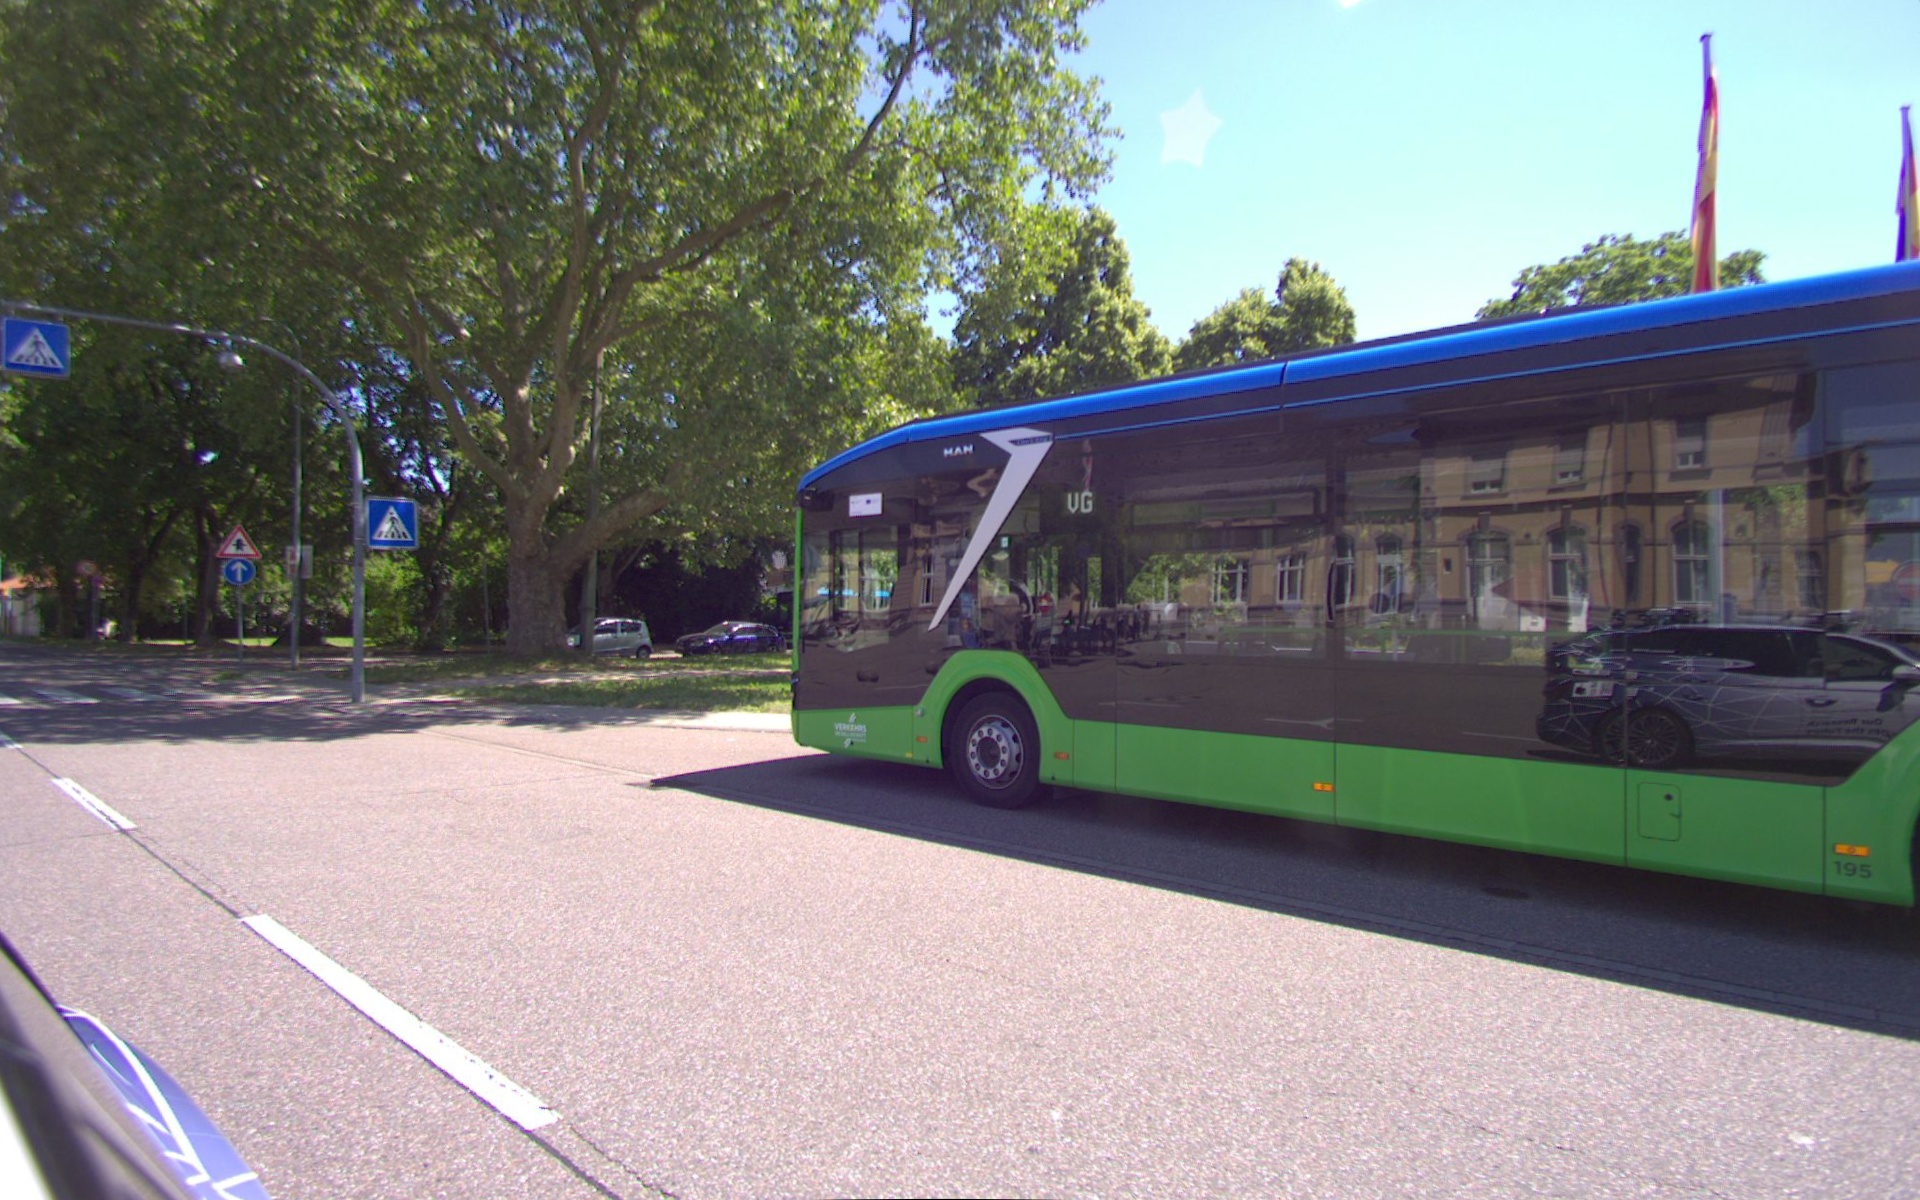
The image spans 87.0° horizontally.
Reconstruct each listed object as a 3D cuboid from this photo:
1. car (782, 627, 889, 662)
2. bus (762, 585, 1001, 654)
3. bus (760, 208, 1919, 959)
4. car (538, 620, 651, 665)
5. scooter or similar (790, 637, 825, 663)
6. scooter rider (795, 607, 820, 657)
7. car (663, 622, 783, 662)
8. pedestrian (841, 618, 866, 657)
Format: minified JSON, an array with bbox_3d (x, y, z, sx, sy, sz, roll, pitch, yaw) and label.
[{"bbox_3d":[-5.392,1.930,44.473,1.755,1.450,4.704,-1,-2,41],"label":"car"},{"bbox_3d":[-3.733,1.160,56.037,2.876,3.320,15.732,-1,-2,41],"label":"bus"},{"bbox_3d":[3.614,-0.027,6.851,12.419,3.308,2.779,-1,-2,41],"label":"bus"},{"bbox_3d":[-12.988,1.484,36.081,1.599,1.508,3.438,1,-1,41],"label":"car"},{"bbox_3d":[-7.227,2.343,47.900,0.741,1.192,1.498,-1,-2,42],"label":"scooter or similar"},{"bbox_3d":[-7.215,1.517,47.928,0.741,2.335,0.914,-1,-2,42],"label":"scooter rider"},{"bbox_3d":[-9.281,1.618,39.897,1.755,1.450,4.441,1,-1,41],"label":"car"},{"bbox_3d":[-5.089,1.788,48.397,0.720,1.816,0.929,-1,-2,36],"label":"pedestrian"}]
